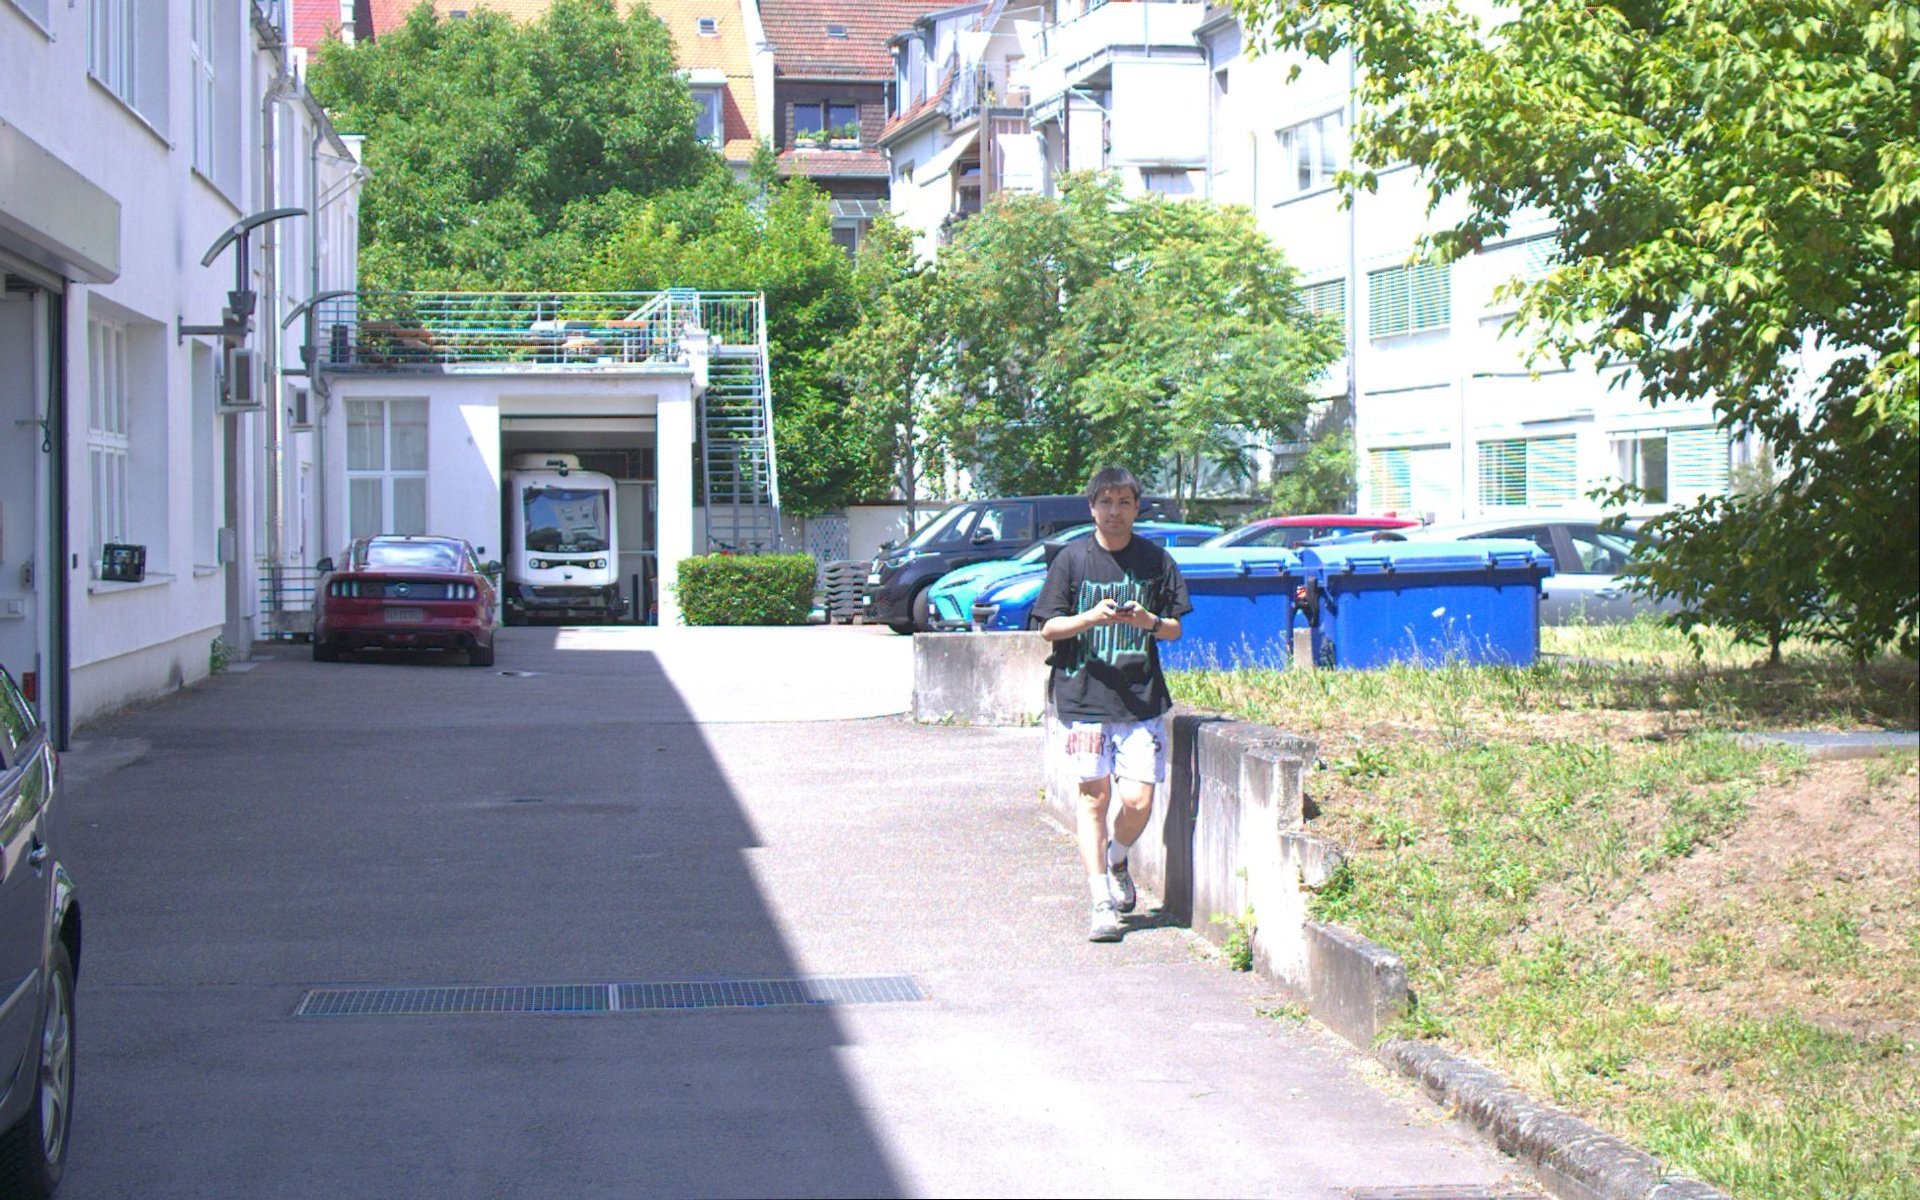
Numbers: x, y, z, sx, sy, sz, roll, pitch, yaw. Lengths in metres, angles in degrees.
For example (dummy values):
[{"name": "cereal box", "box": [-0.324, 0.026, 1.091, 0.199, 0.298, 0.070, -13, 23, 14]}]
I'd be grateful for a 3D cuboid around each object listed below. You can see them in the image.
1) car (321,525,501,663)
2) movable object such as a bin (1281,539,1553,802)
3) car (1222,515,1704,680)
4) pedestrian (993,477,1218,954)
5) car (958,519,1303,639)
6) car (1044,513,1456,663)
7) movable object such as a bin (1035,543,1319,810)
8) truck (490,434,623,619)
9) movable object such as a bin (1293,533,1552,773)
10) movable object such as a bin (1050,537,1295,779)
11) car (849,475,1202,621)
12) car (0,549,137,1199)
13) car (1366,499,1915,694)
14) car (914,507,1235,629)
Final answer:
[{"name": "car", "box": [-5.960, -0.108, 37.684, 1.798, 1.385, 4.001, -1, 2, -7]}, {"name": "movable object such as a bin", "box": [2.407, 0.352, 18.247, 1.216, 1.322, 1.161, -1, 2, -4]}, {"name": "car", "box": [4.536, -0.051, 31.293, 3.986, 1.385, 1.805, -1, 2, -8]}, {"name": "pedestrian", "box": [0.540, 0.415, 13.008, 0.757, 1.749, 0.752, 0, 1, -5]}, {"name": "car", "box": [2.078, -0.276, 42.528, 3.986, 1.385, 1.805, -1, 2, -8]}, {"name": "car", "box": [2.997, -0.151, 35.947, 3.986, 1.473, 1.805, -1, 2, -8]}, {"name": "movable object such as a bin", "box": [1.120, 0.379, 18.090, 1.338, 1.322, 1.161, -1, 2, -4]}, {"name": "truck", "box": [-6.696, -1.221, 56.698, 1.787, 2.927, 4.655, 0, 1, -12]}, {"name": "movable object such as a bin", "box": [2.669, 0.285, 19.988, 1.216, 1.322, 1.161, -1, 2, -8]}, {"name": "movable object such as a bin", "box": [1.210, 0.313, 19.860, 1.192, 1.322, 1.161, -1, 2, -8]}, {"name": "car", "box": [0.889, -0.754, 48.448, 4.676, 1.951, 2.077, -1, 2, -8]}, {"name": "car", "box": [-2.682, 0.666, 6.117, 1.754, 1.425, 4.387, 0, 2, -5]}, {"name": "car", "box": [5.466, -0.059, 27.855, 3.986, 1.473, 1.805, -1, 2, -8]}, {"name": "car", "box": [1.484, -0.447, 45.459, 3.986, 1.529, 1.805, -1, 2, -8]}]
